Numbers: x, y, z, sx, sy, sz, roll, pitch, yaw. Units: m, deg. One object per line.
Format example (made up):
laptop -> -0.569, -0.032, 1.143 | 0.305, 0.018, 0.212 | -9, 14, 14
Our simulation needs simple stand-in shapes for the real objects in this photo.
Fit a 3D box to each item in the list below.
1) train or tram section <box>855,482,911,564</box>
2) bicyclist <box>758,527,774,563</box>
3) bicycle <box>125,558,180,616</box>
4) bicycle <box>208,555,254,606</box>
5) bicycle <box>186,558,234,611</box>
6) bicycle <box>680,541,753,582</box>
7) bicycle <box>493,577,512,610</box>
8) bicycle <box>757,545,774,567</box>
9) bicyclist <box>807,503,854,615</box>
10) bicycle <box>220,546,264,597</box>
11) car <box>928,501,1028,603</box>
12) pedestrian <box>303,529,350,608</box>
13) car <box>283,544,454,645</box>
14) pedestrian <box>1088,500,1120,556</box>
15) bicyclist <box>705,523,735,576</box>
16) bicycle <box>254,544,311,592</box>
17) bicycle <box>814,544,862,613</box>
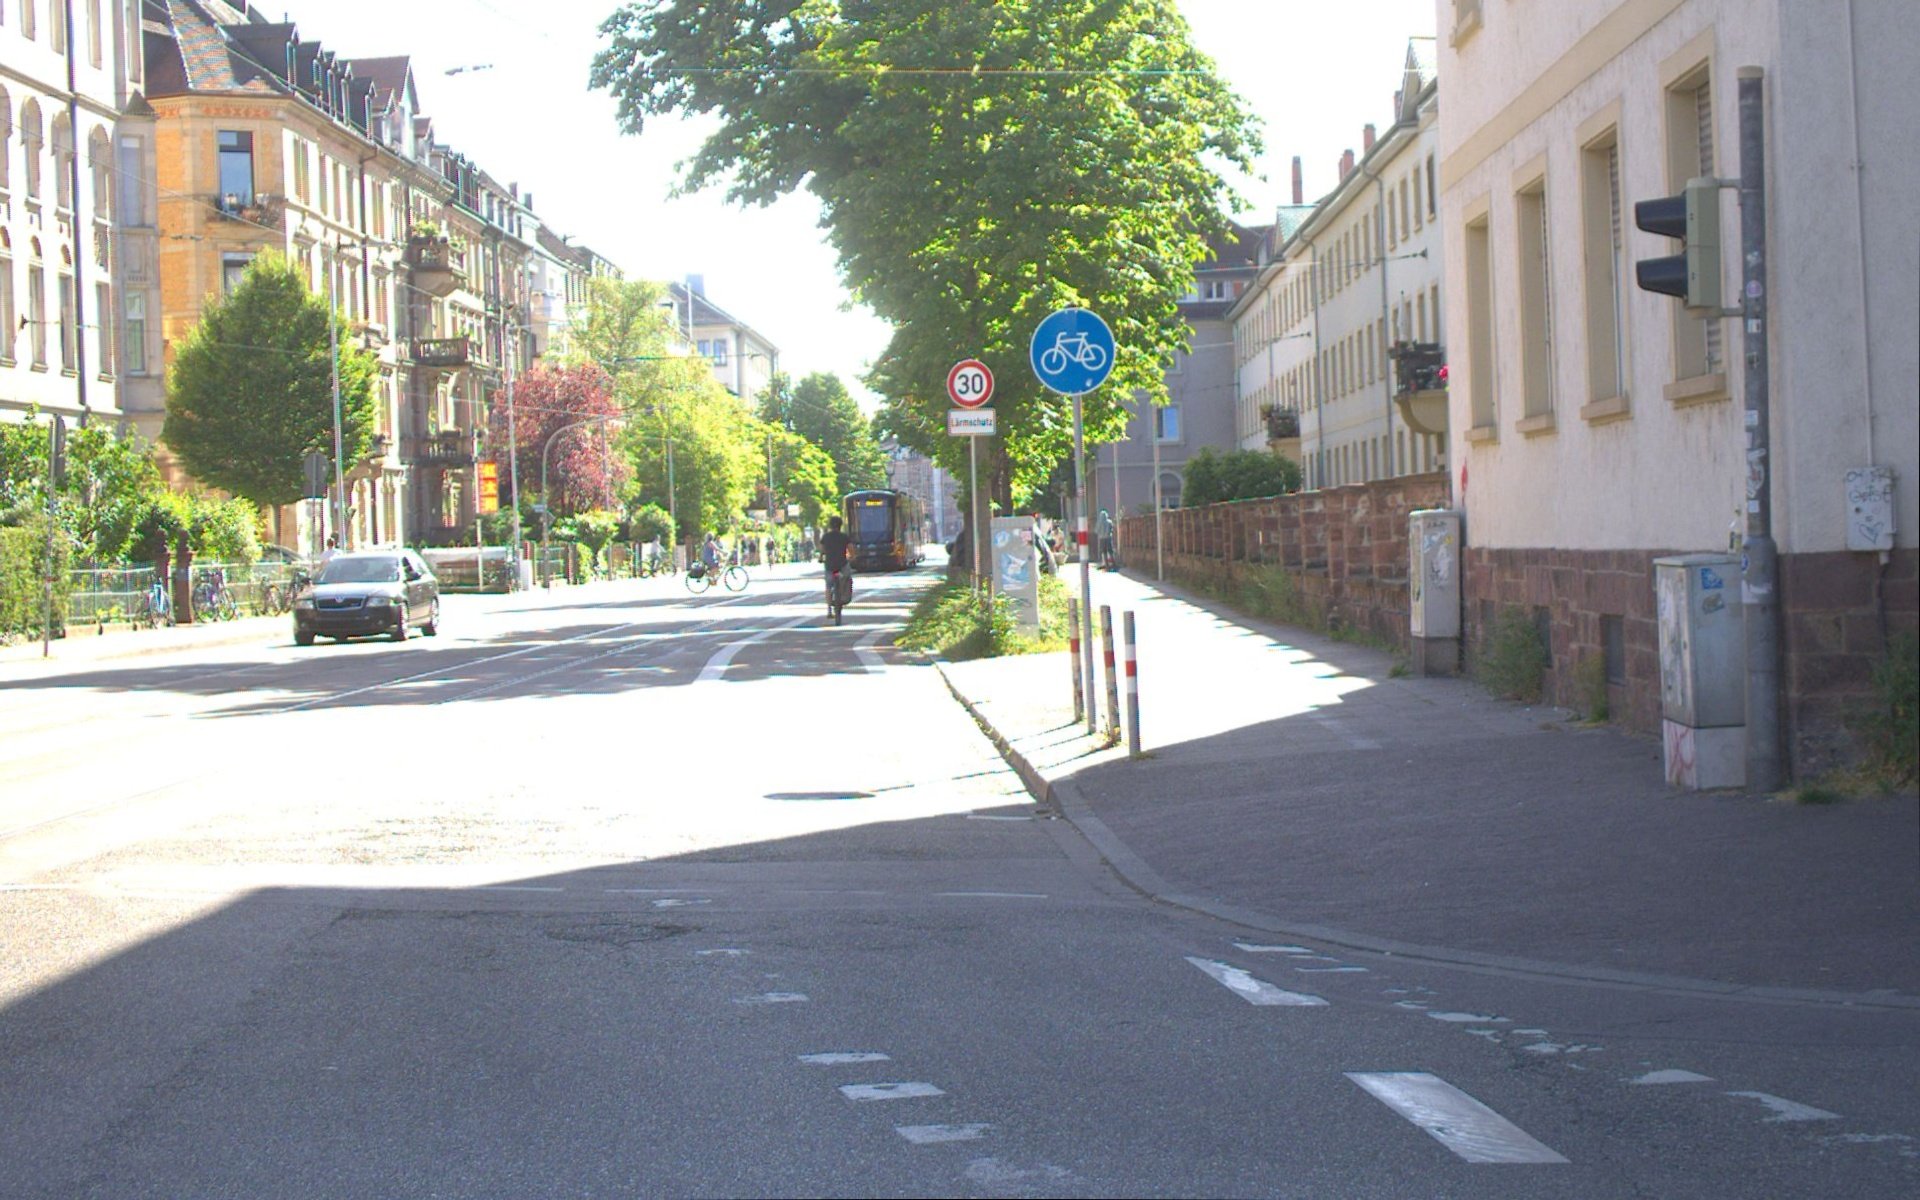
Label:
train or tram section -> -3.261, -3.291, 147.167 | 2.153, 3.420, 6.611 | 0, 1, 1
bicyclist -> -10.087, -2.864, 179.037 | 0.660, 1.795, 0.616 | -4, 1, 1
bicycle -> -15.313, -0.256, 65.222 | 0.563, 1.030, 1.768 | 0, 2, 1
bicycle -> -15.129, -0.413, 71.331 | 0.563, 1.030, 1.768 | 0, 2, 0
bicycle -> -15.114, -0.321, 69.304 | 0.563, 1.030, 1.768 | 0, 2, 0
bicycle -> -6.787, -1.086, 95.831 | 1.910, 1.108, 0.694 | -1, 1, -24
bicycle -> -14.824, -0.215, 111.450 | 0.335, 0.997, 1.870 | 0, 1, 1
bicycle -> -10.101, -2.306, 178.978 | 0.692, 1.108, 1.718 | -3, 1, 1
bicyclist -> -2.147, -0.685, 57.148 | 0.727, 1.842, 0.837 | 0, 1, 0
bicycle -> -15.494, -0.613, 74.171 | 0.563, 1.030, 1.768 | 2, 1, -24
car -> 0.322, -0.901, 62.411 | 1.743, 1.760, 4.478 | -1, 1, 0
pedestrian -> -13.893, -0.685, 75.449 | 0.829, 1.718, 1.082 | 0, 0, 0
car -> -9.595, -0.122, 56.133 | 1.832, 1.513, 4.967 | 0, 1, 1
pedestrian -> 4.409, -2.196, 105.221 | 0.764, 1.718, 0.579 | 0, 1, 30
bicyclist -> -6.702, -1.404, 95.907 | 0.614, 1.463, 0.637 | -1, 1, -26
bicycle -> -15.187, -0.719, 77.002 | 0.563, 1.030, 1.767 | -2, 3, -35
bicycle -> -2.015, -0.368, 56.833 | 0.692, 1.108, 1.718 | 0, 1, 1
